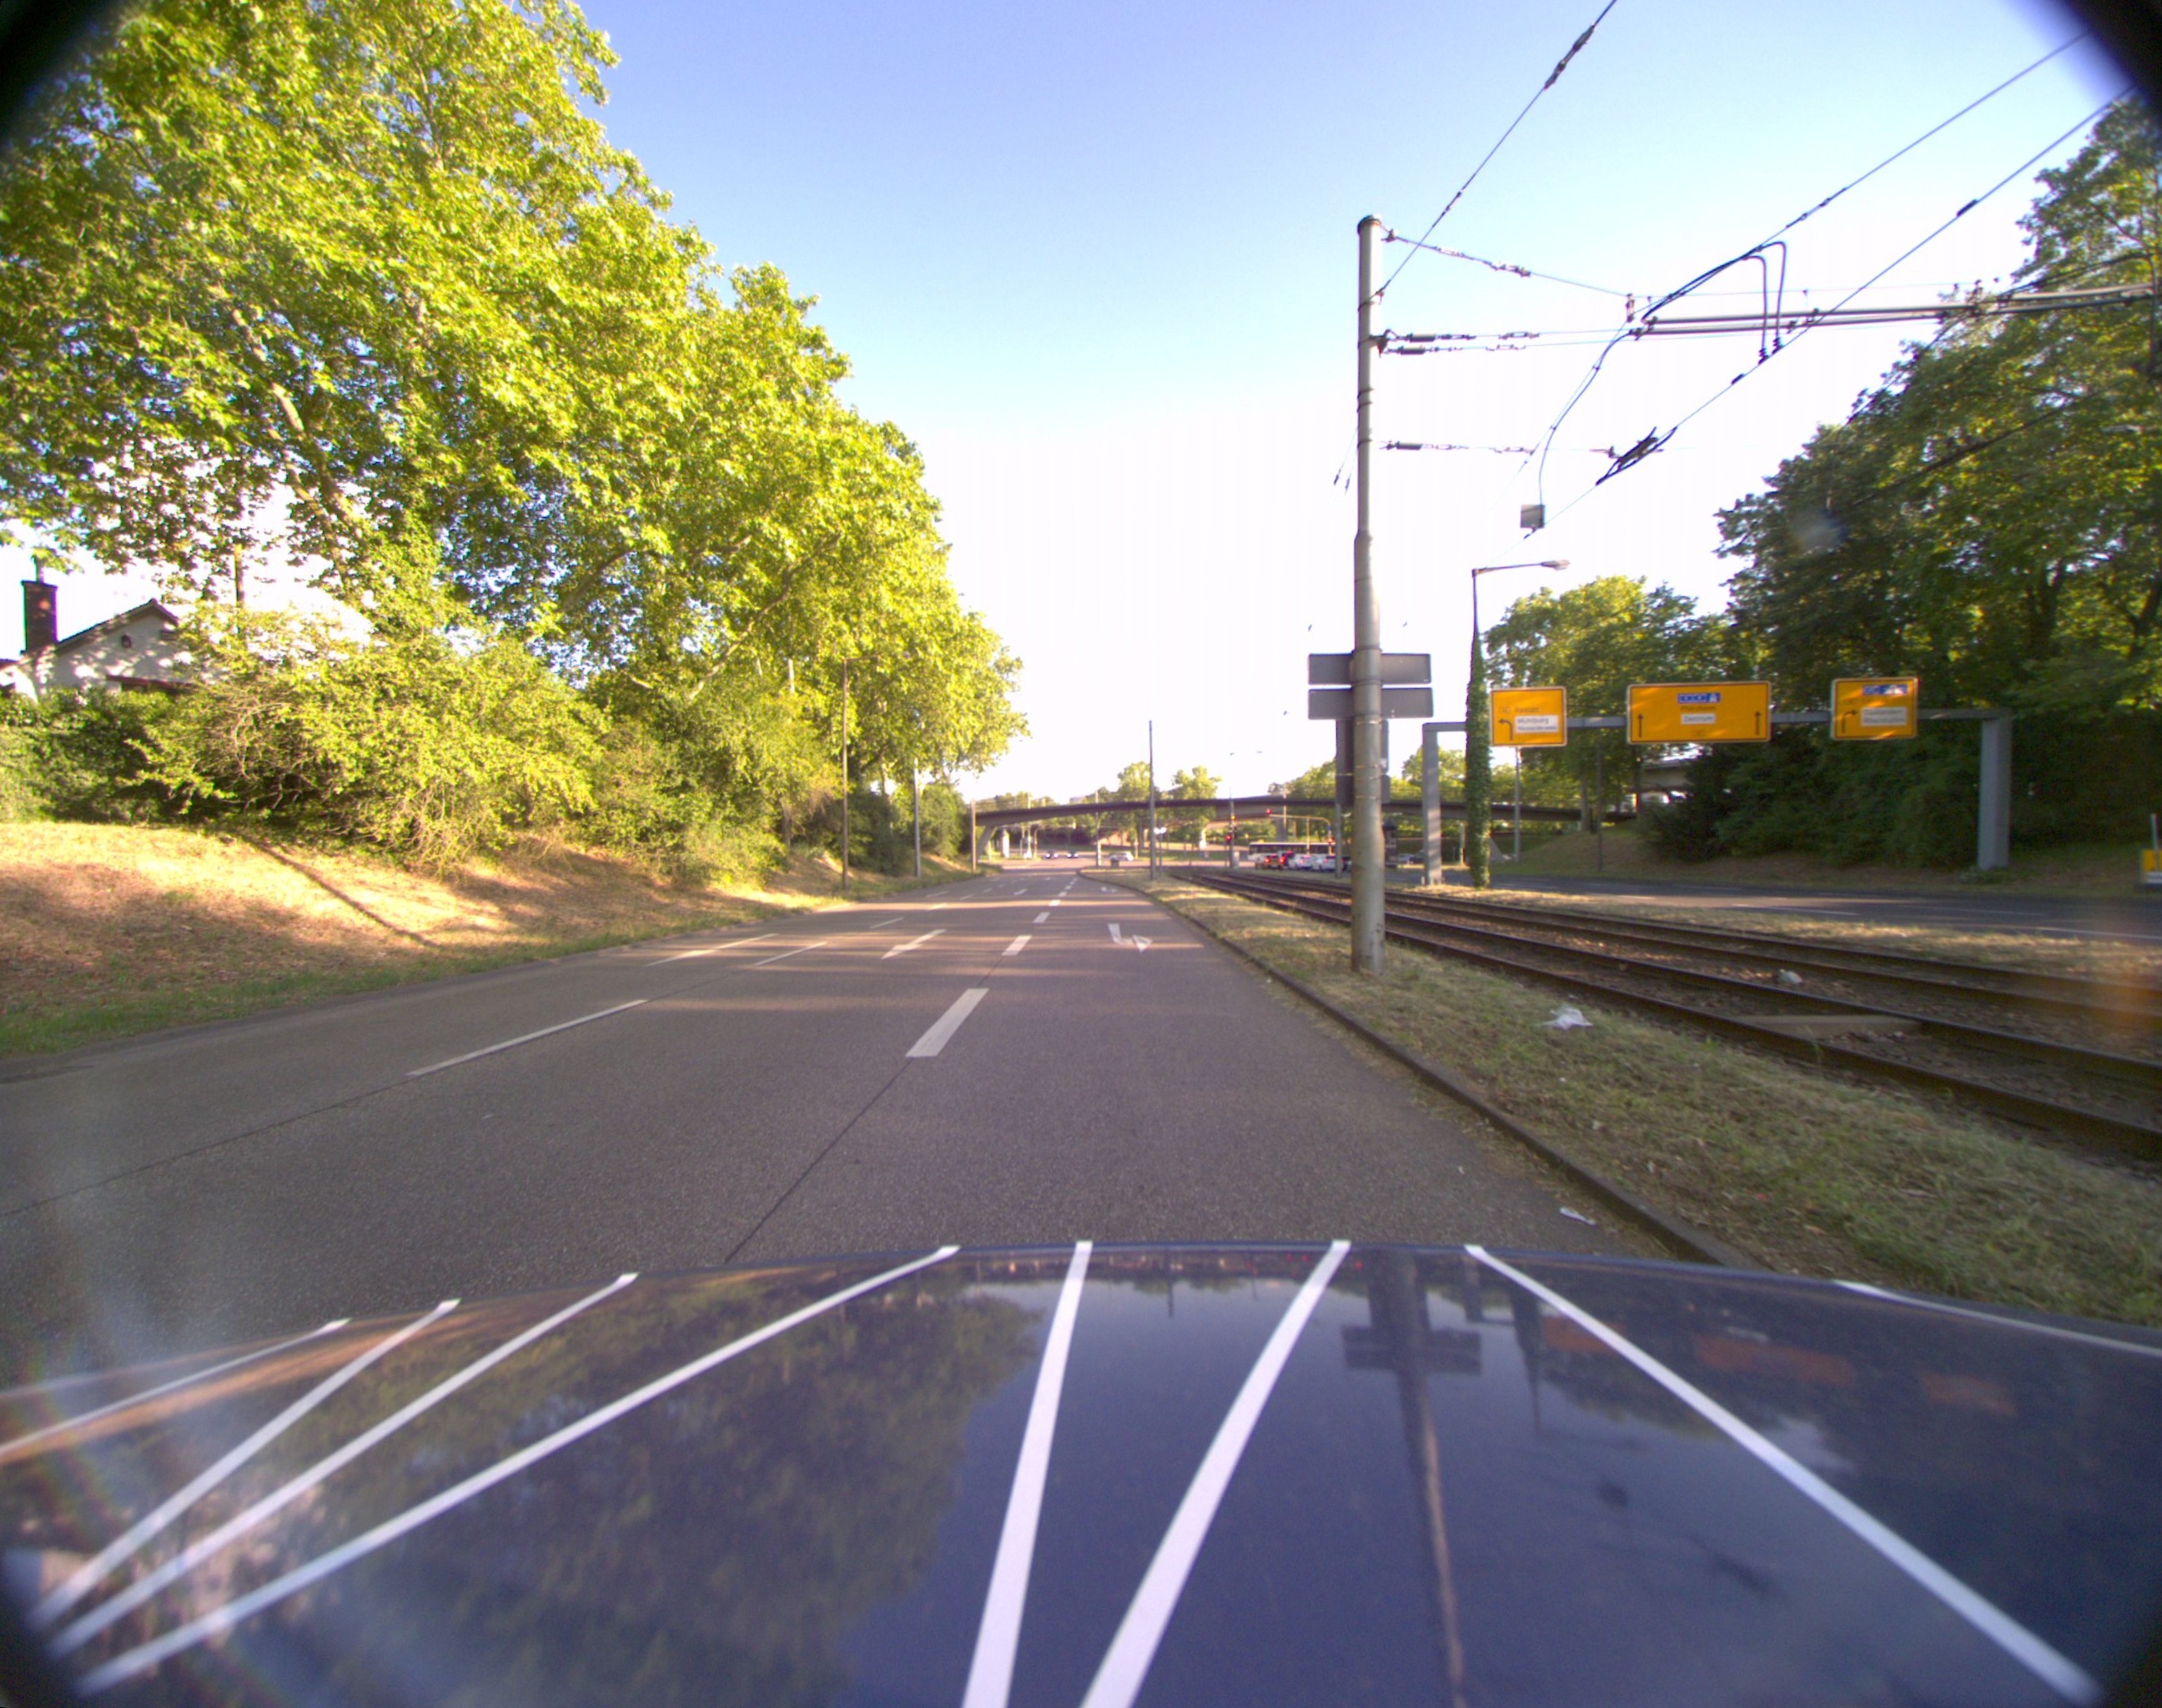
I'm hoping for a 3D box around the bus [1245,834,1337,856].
[{"bbox_3d":[31.620,-1.378,114.526,13.164,2.846,2.420,-2,1,20],"label":"bus"}]

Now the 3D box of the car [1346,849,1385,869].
[{"bbox_3d":[23.963,0.410,64.053,1.813,1.535,4.000,-1,0,1],"label":"car"}]

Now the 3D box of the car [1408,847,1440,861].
[{"bbox_3d":[46.972,-0.012,104.188,3.805,1.848,1.679,-2,1,20],"label":"car"}]

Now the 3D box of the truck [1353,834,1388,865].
[{"bbox_3d":[28.378,-0.455,74.780,2.281,2.862,6.886,-1,0,13],"label":"truck"}]

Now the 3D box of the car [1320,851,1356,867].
[{"bbox_3d":[23.734,0.468,70.190,1.868,1.416,4.226,-1,0,0],"label":"car"}]

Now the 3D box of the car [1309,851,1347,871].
[{"bbox_3d":[20.023,0.528,61.787,1.767,1.535,4.000,-1,0,0],"label":"car"}]

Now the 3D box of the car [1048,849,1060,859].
[{"bbox_3d":[-4.904,0.059,139.185,1.960,1.779,3.998,-2,0,-5],"label":"car"}]

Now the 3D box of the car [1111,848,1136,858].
[{"bbox_3d":[6.866,-0.174,123.745,3.647,1.503,1.665,-2,1,21],"label":"car"}]

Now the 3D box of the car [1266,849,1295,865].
[{"bbox_3d":[19.577,0.249,74.723,1.917,1.540,4.227,-1,0,4],"label":"car"}]

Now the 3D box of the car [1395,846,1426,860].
[{"bbox_3d":[46.864,-0.154,108.095,3.890,1.848,1.679,-2,1,20],"label":"car"}]

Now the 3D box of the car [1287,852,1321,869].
[{"bbox_3d":[19.912,0.530,68.065,1.918,1.416,4.227,-1,0,2],"label":"car"}]

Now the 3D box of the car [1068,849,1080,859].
[{"bbox_3d":[-1.260,0.004,141.861,1.905,1.726,3.998,-2,0,-5],"label":"car"}]

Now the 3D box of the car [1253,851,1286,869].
[{"bbox_3d":[16.143,0.493,65.217,1.767,1.535,4.000,-1,0,0],"label":"car"}]
